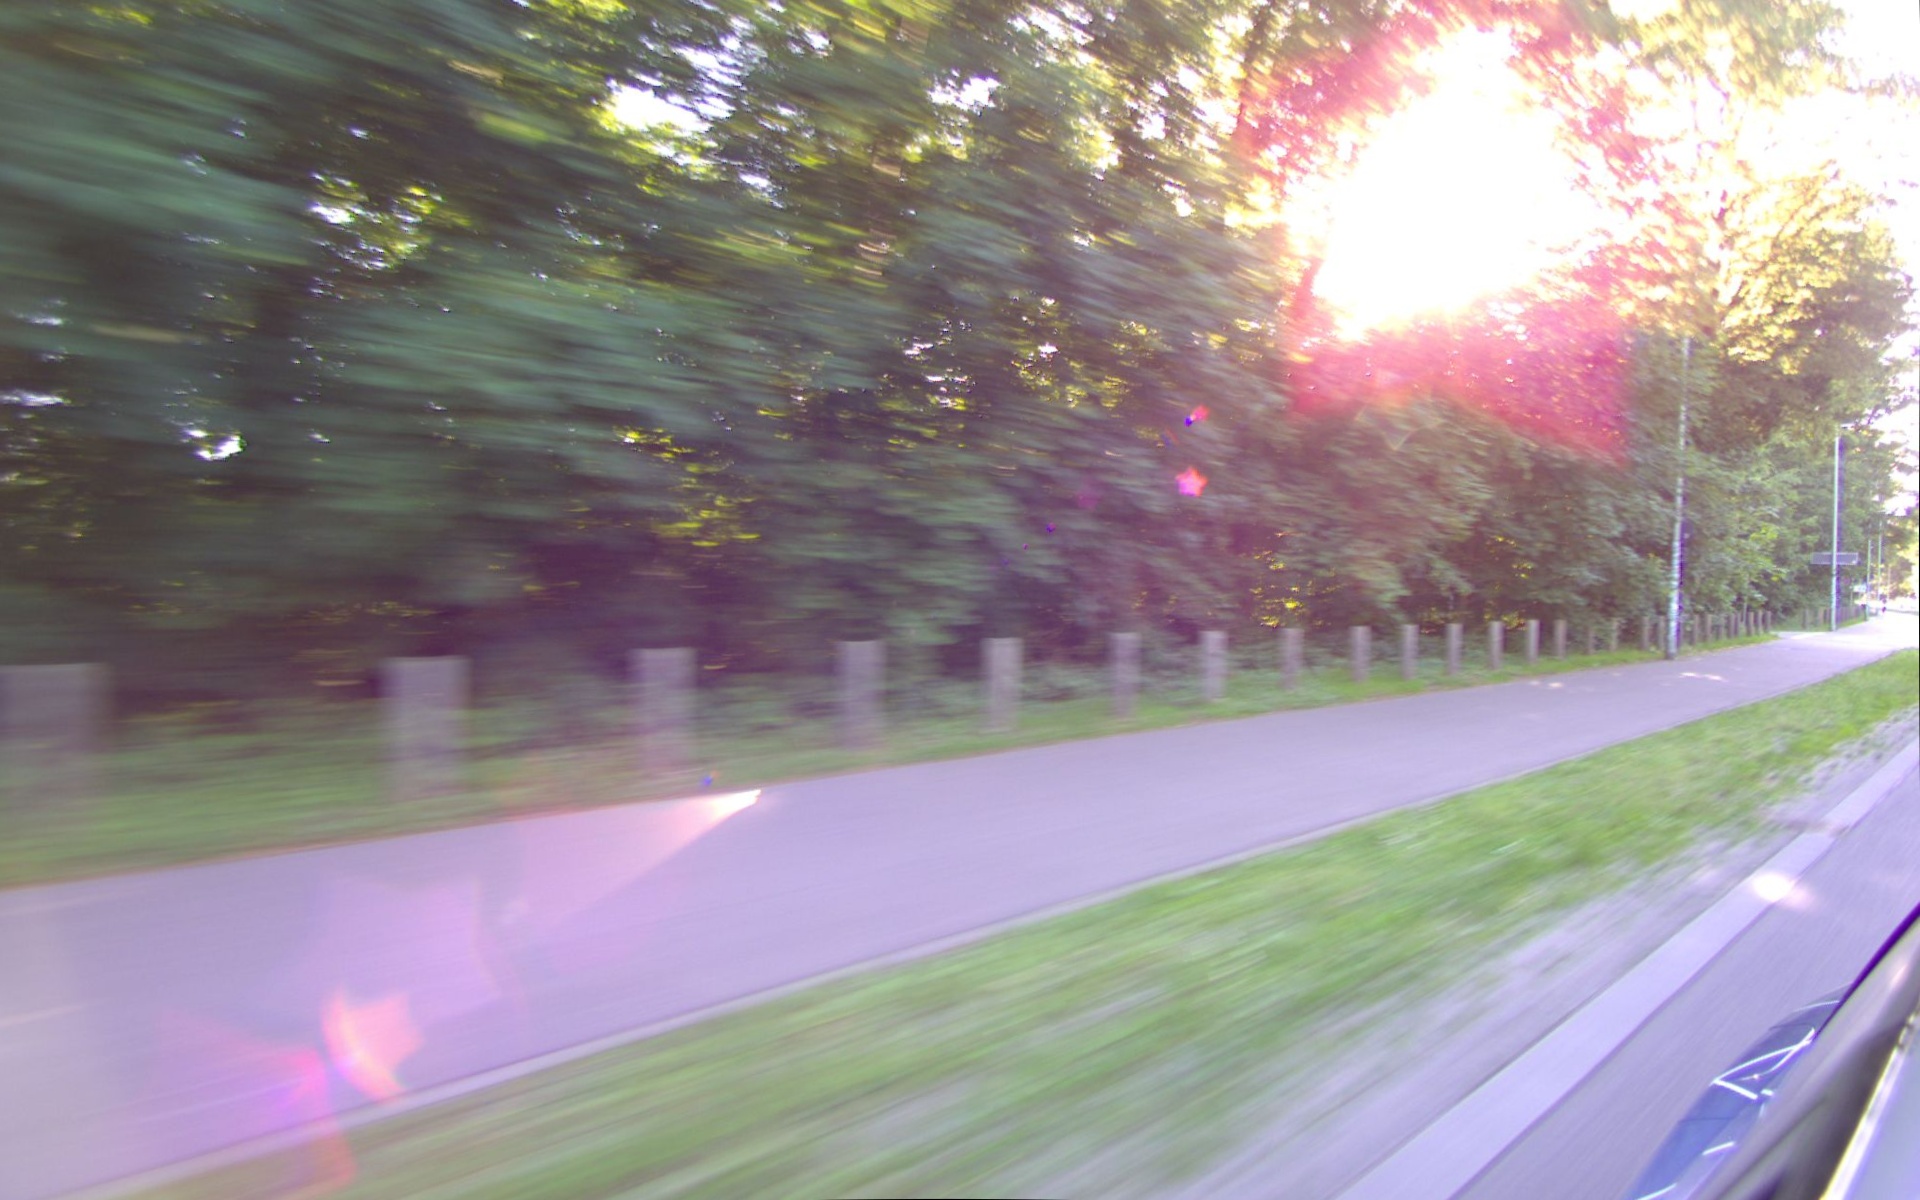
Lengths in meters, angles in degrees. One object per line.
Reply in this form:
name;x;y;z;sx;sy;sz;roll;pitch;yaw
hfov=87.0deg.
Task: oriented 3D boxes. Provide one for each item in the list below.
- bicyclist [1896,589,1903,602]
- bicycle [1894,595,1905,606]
bicyclist;93.754;-0.451;100.992;0.512;1.283;0.490;1;1;39
bicycle;93.880;0.083;101.136;0.605;1.070;2.835;1;1;38
